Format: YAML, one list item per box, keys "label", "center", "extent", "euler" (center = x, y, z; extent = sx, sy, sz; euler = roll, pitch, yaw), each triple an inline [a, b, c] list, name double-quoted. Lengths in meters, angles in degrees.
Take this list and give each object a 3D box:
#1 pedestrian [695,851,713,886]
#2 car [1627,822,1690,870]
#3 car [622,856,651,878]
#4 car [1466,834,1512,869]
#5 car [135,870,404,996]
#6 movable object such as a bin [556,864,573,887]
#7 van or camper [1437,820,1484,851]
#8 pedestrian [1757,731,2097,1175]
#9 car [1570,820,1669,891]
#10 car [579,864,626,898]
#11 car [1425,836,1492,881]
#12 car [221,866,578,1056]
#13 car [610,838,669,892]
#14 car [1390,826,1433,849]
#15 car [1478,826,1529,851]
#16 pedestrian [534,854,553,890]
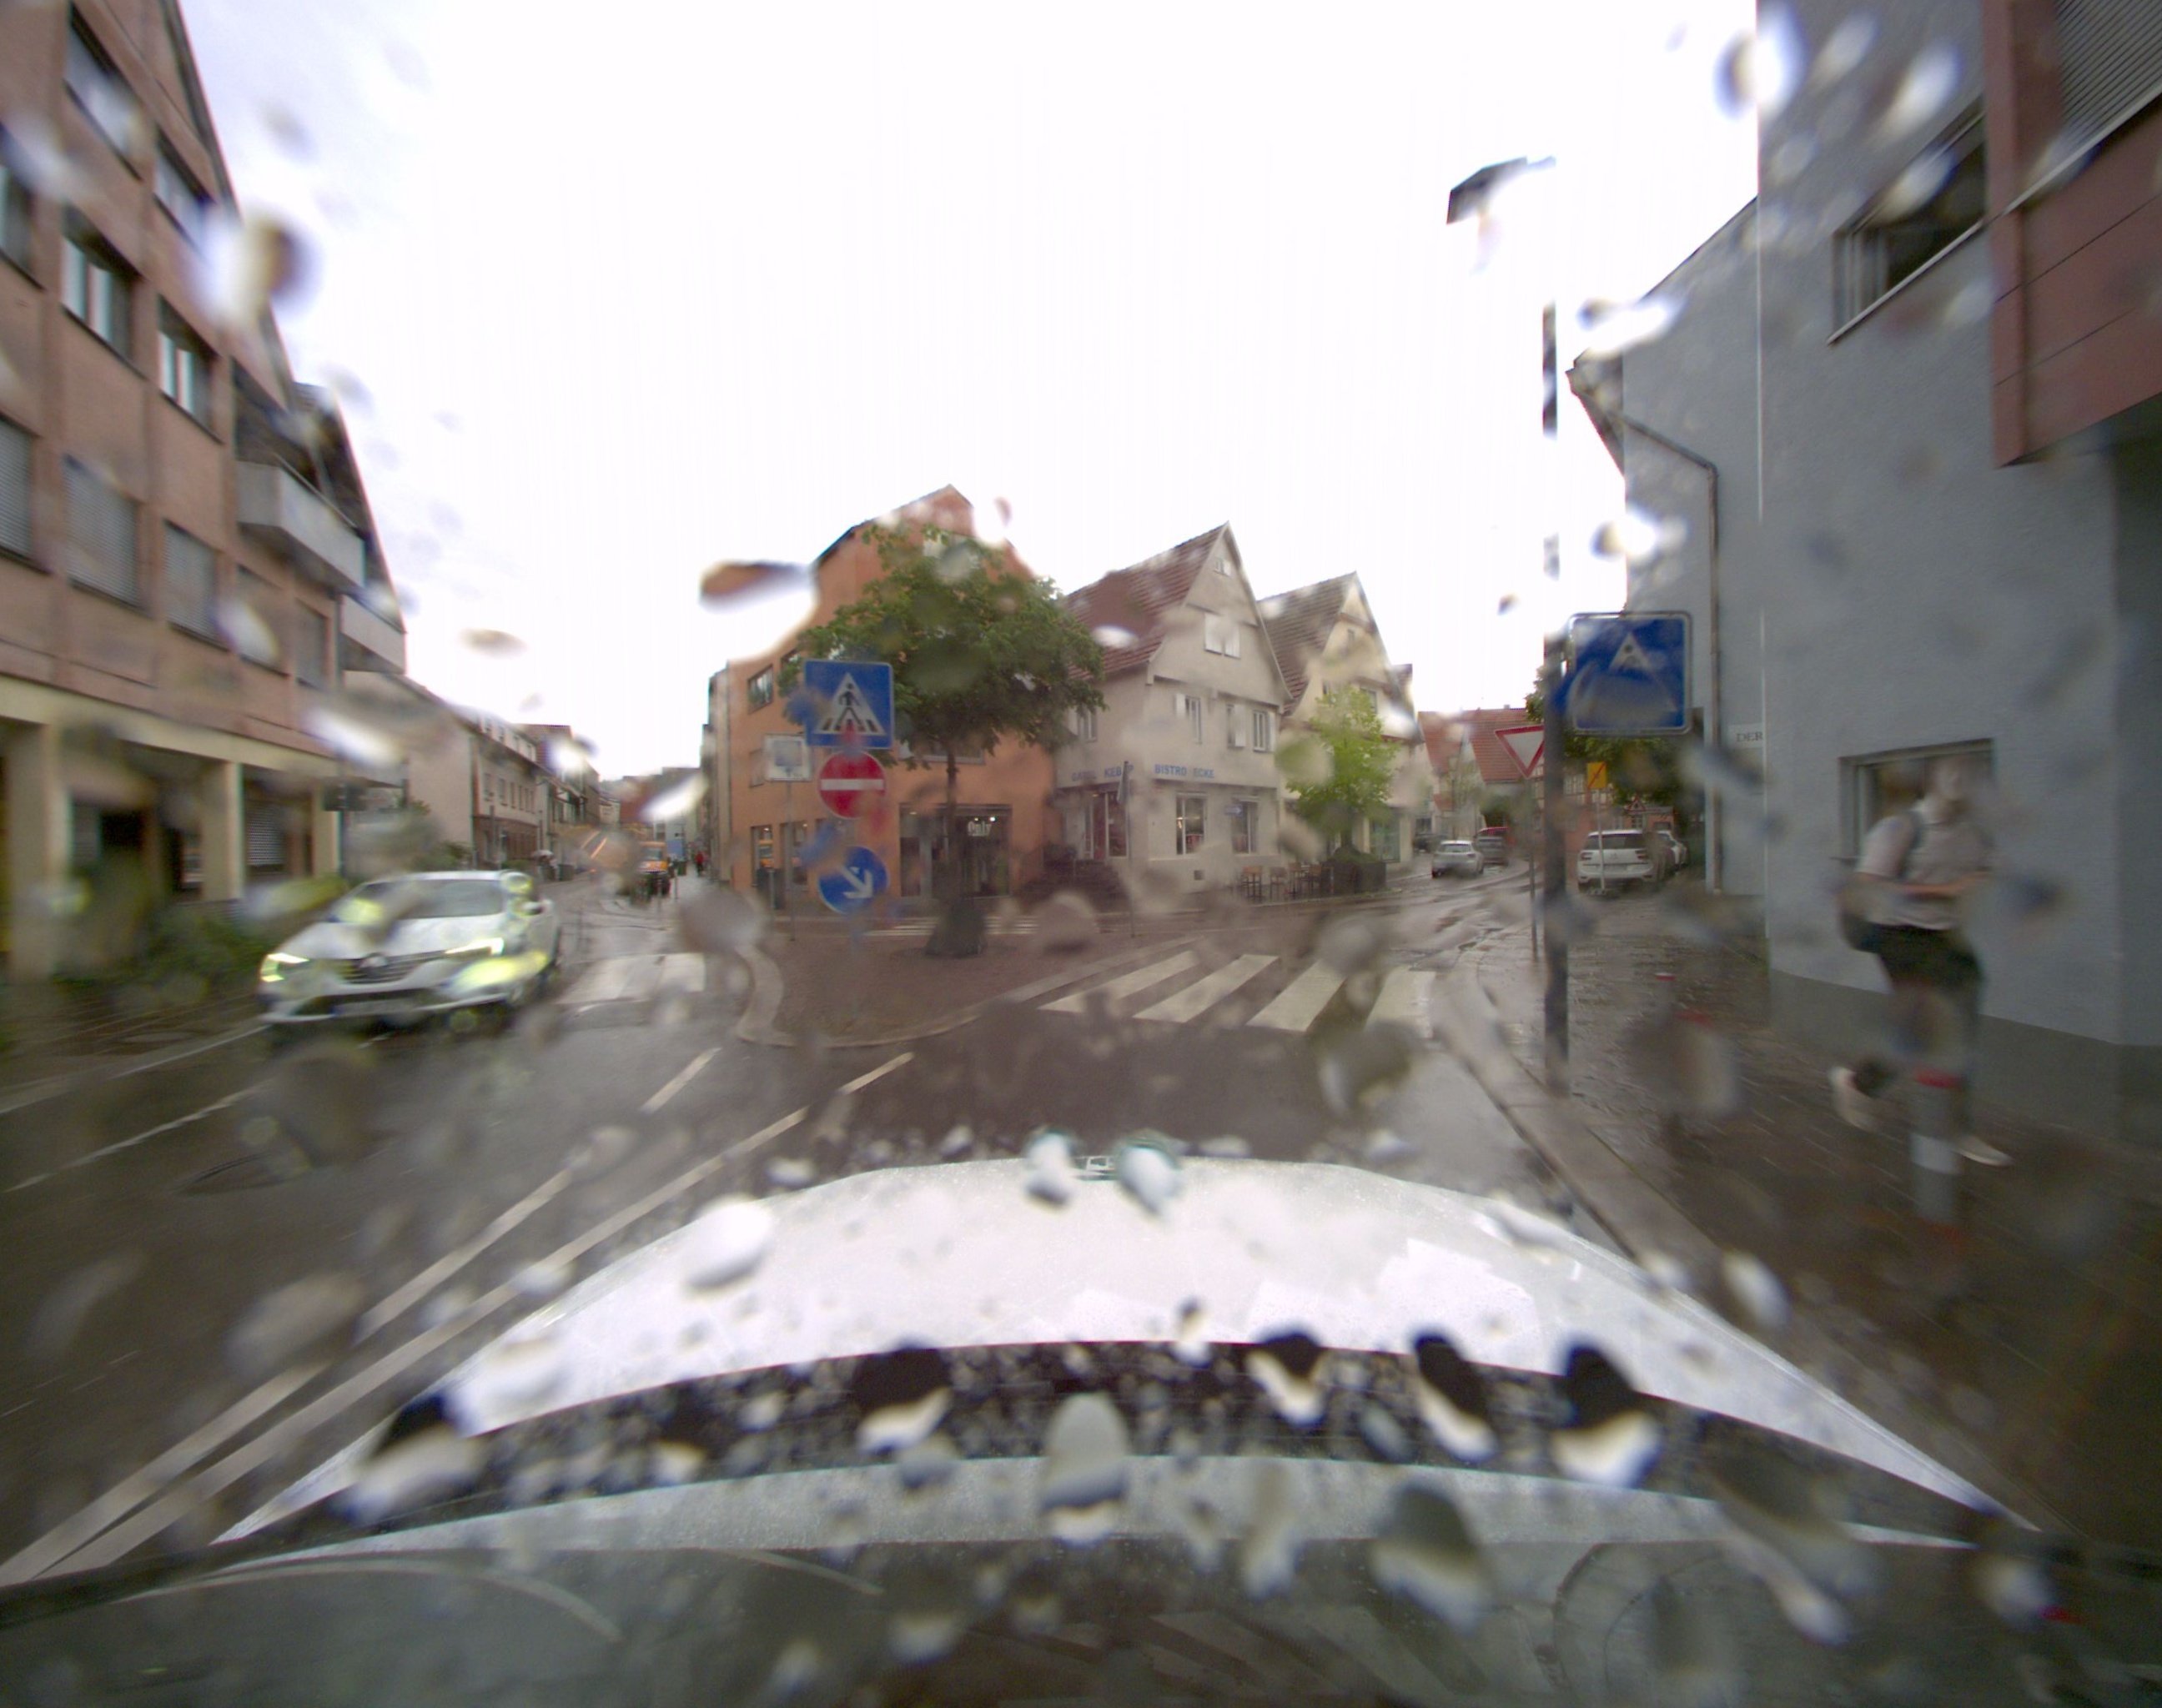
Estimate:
- label: "pedestrian"
  center: [-22.338, 0.846, 48.224]
  extent: [0.871, 2.013, 0.701]
  euler: [-1, 0, -29]
- label: "car"
  center: [22.064, -0.338, 31.090]
  extent: [1.791, 1.583, 4.026]
  euler: [-3, 0, 36]
- label: "car"
  center: [-44.337, 1.308, 81.311]
  extent: [2.002, 2.013, 3.969]
  euler: [-4, 0, -23]
- label: "car"
  center: [21.397, -0.141, 42.601]
  extent: [1.975, 1.592, 4.025]
  euler: [-3, 0, 28]
- label: "car"
  center: [-11.561, 0.992, 11.959]
  extent: [1.724, 1.458, 3.874]
  euler: [0, 0, -28]
- label: "movable object such as a bin"
  center: [-32.118, 1.341, 50.642]
  extent: [0.839, 1.382, 0.846]
  euler: [-2, 0, -30]
- label: "van or camper"
  center: [25.682, -1.241, 55.214]
  extent: [1.815, 1.919, 4.011]
  euler: [-3, 0, 9]
- label: "pedestrian"
  center: [4.048, 0.435, 3.996]
  extent: [0.751, 1.914, 0.866]
  euler: [-2, 0, 10]
- label: "car"
  center: [14.623, -0.014, 22.029]
  extent: [1.974, 1.658, 4.026]
  euler: [-3, 0, 36]
- label: "car"
  center: [-31.516, 1.738, 53.788]
  extent: [2.002, 2.013, 4.329]
  euler: [-4, 0, -23]
- label: "car"
  center: [15.491, 0.141, 33.301]
  extent: [1.974, 1.592, 4.026]
  euler: [-3, 0, 31]
- label: "car"
  center: [-6.939, 0.902, 8.896]
  extent: [2.004, 1.441, 4.128]
  euler: [-2, 0, -26]
- label: "car"
  center: [-19.896, 0.493, 36.603]
  extent: [2.117, 2.146, 4.819]
  euler: [-4, 0, -30]
- label: "car"
  center: [25.970, -1.291, 64.079]
  extent: [1.984, 1.592, 4.006]
  euler: [-3, 0, 5]
- label: "car"
  center: [30.171, -1.103, 58.333]
  extent: [1.982, 1.592, 4.010]
  euler: [-3, 0, 8]
- label: "pedestrian"
  center: [-31.076, 1.031, 47.106]
  extent: [0.839, 2.013, 0.846]
  euler: [-2, 0, -30]
